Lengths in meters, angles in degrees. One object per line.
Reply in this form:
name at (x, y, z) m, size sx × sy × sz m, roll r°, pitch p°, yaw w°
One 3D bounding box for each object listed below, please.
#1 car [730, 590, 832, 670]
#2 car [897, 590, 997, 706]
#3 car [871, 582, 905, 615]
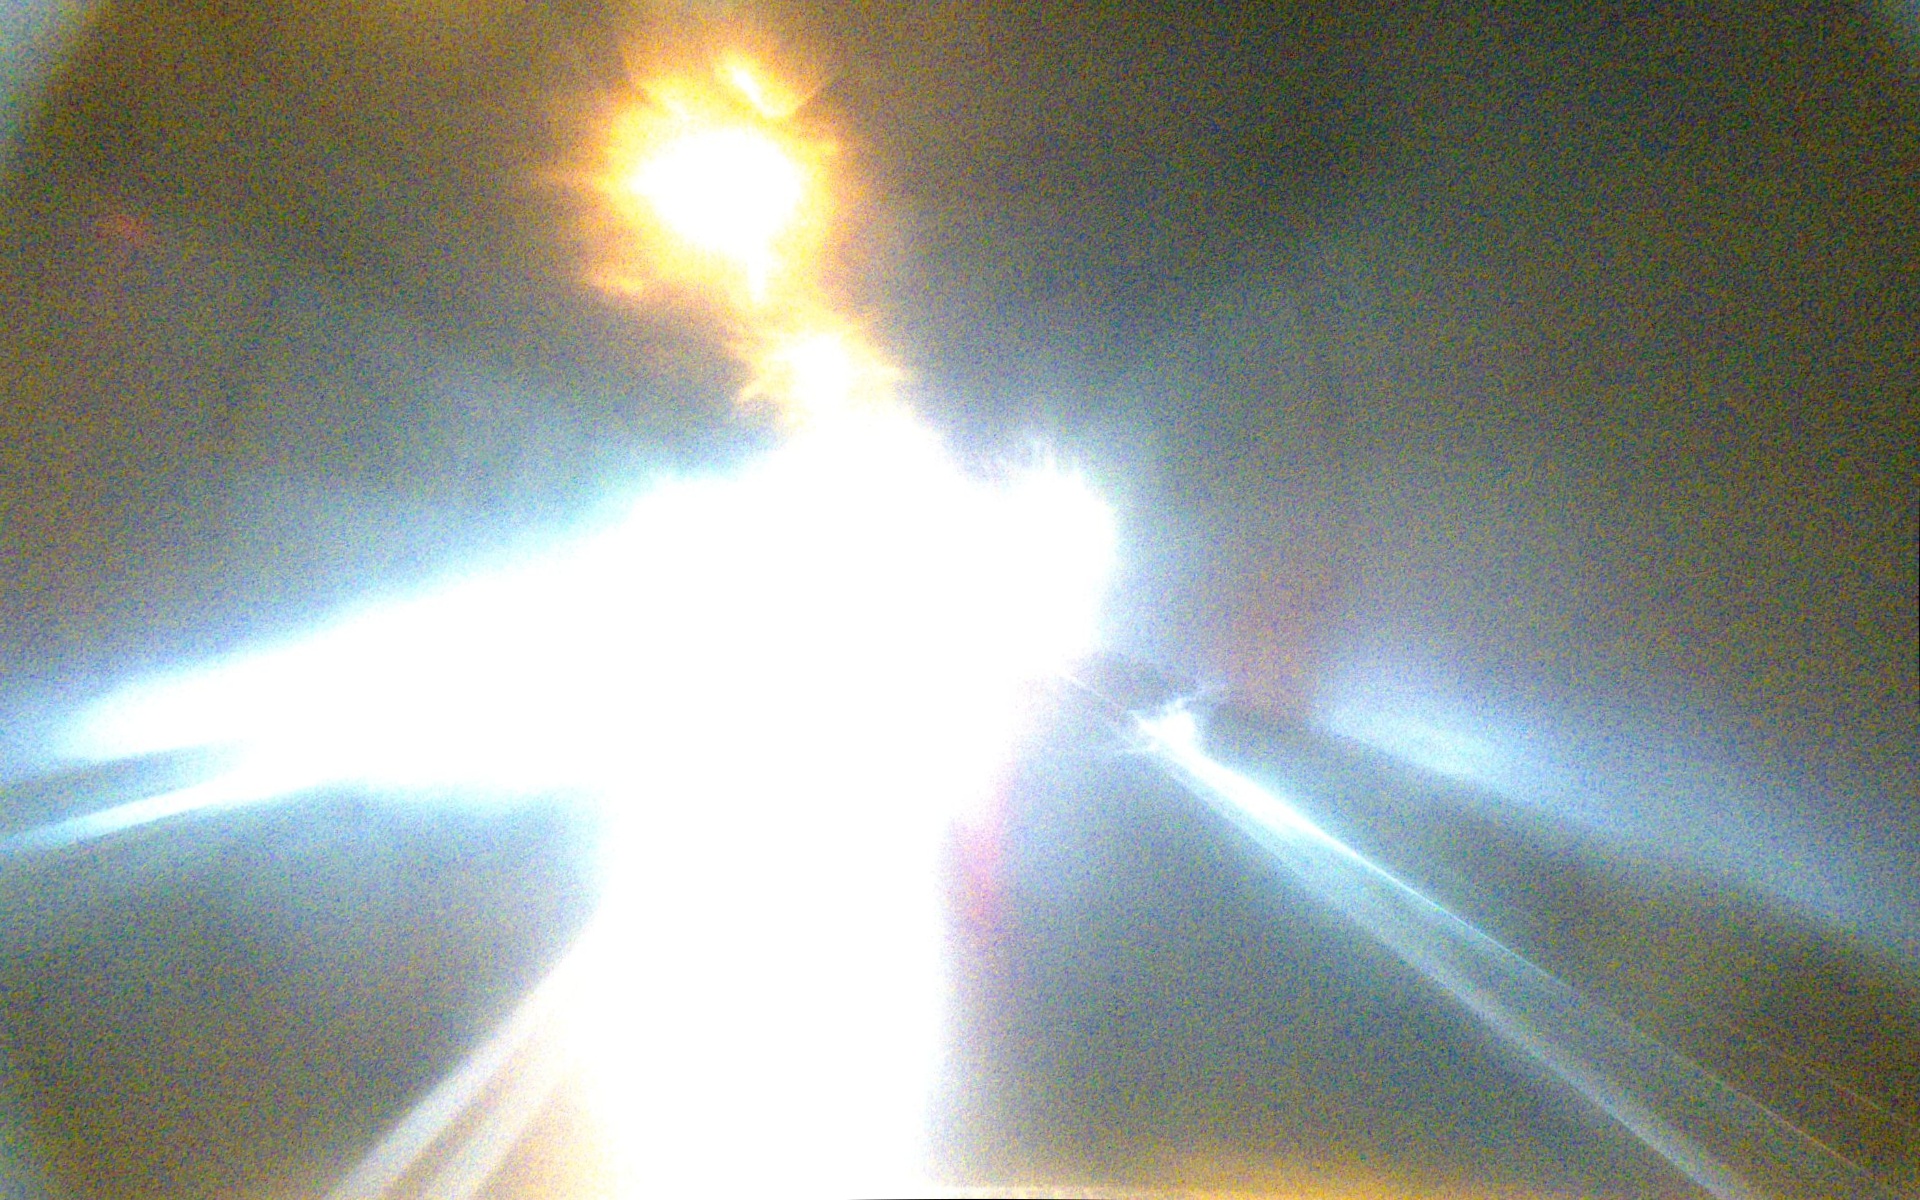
car at (-3.531, 0.550, 33.311) m, size 1.741 × 1.433 × 4.292 m, roll 0°, pitch 1°, yaw -2°
car at (-0.193, 0.763, 28.681) m, size 1.601 × 1.788 × 4.146 m, roll 0°, pitch 1°, yaw 0°
car at (-4.764, -0.130, 108.575) m, size 2.168 × 2.048 × 3.997 m, roll 0°, pitch 1°, yaw -4°
